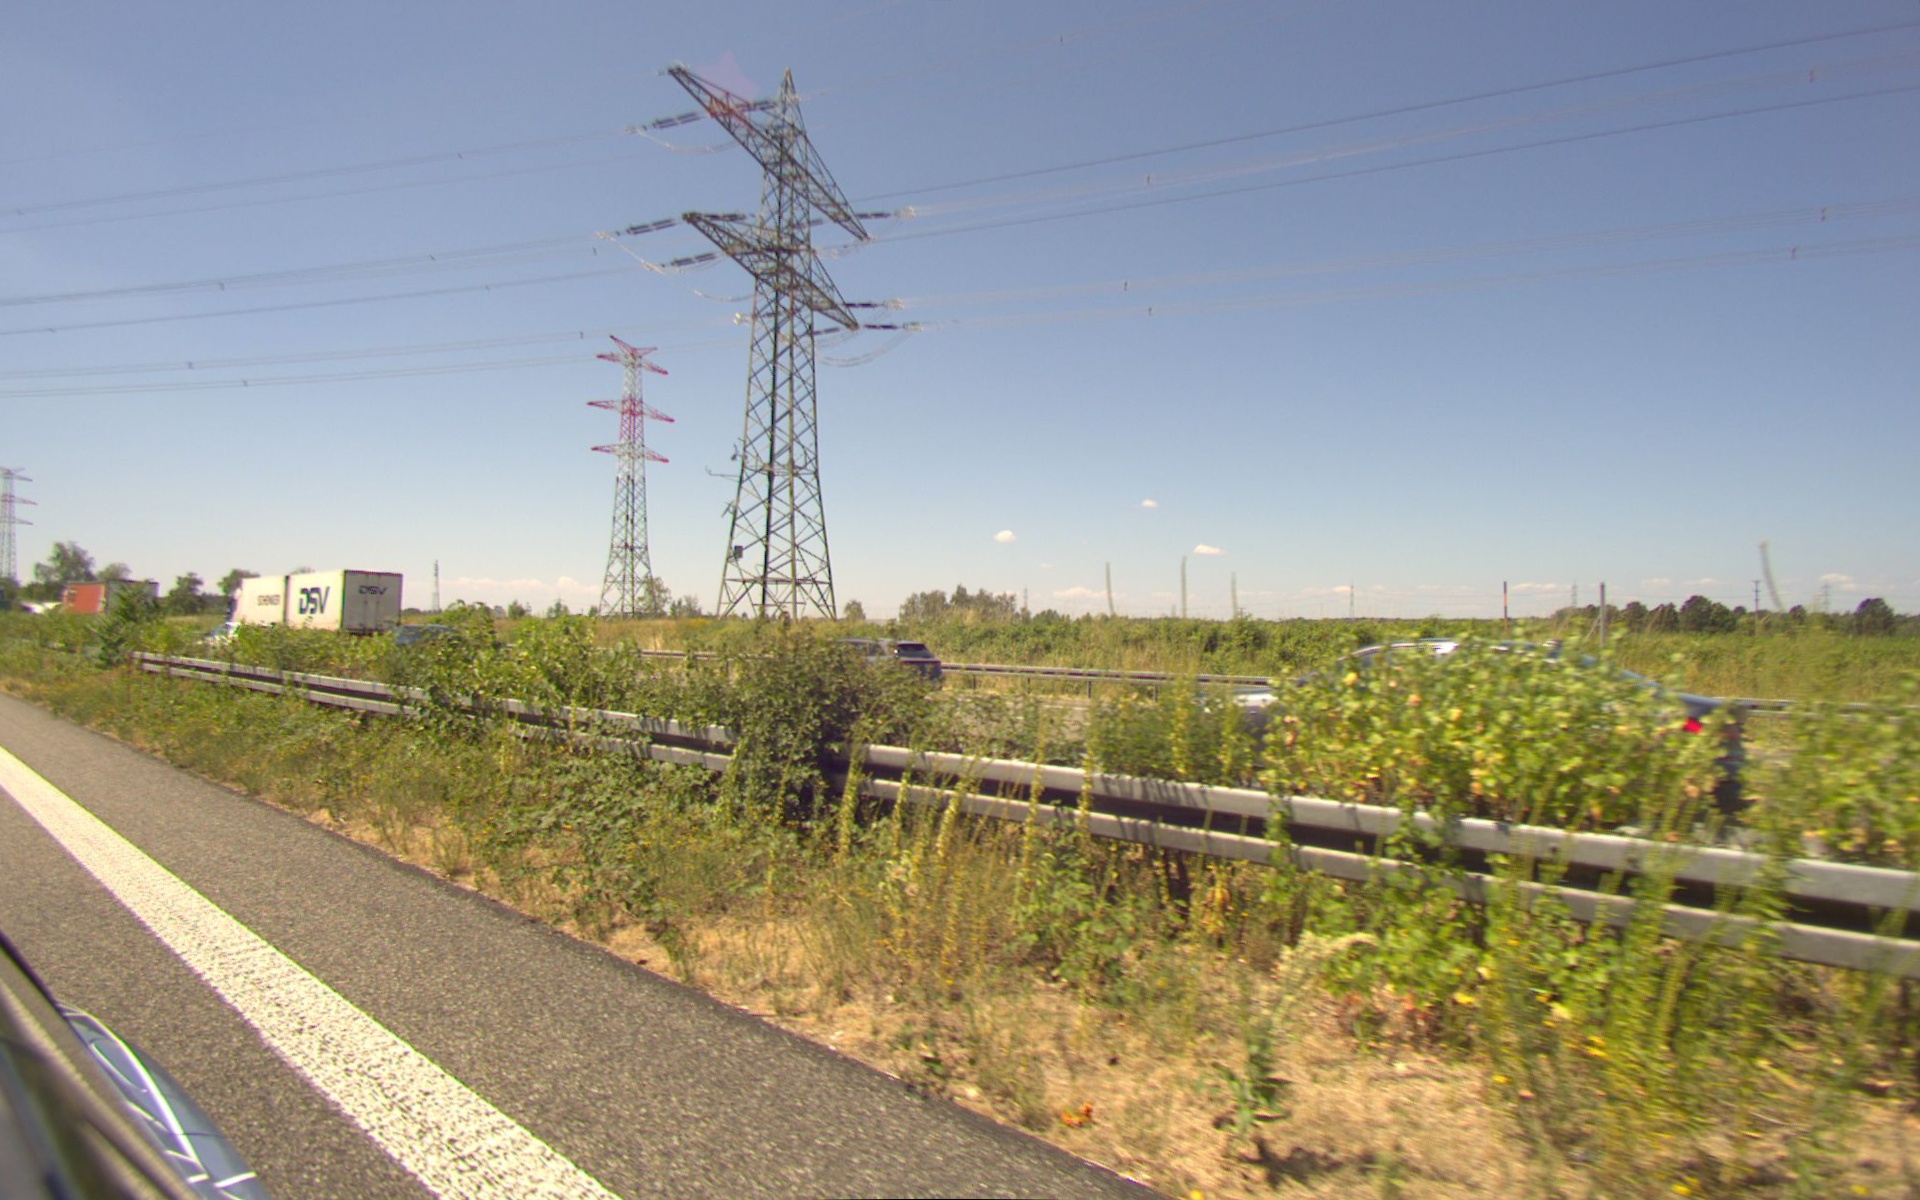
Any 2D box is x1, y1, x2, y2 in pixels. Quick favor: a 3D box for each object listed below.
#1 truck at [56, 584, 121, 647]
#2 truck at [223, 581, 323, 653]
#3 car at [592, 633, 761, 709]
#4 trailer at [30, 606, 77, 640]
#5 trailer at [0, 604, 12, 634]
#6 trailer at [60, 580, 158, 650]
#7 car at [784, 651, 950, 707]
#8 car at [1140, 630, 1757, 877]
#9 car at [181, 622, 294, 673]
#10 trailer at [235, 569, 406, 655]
[{"bbox_3d":[-61.468,1.158,71.364,5.907,4.244,2.572,-1,-3,42],"label":"truck"},{"bbox_3d":[-38.323,0.974,56.346,6.844,3.780,2.806,-1,-3,40],"label":"truck"},{"bbox_3d":[-6.419,1.532,22.714,3.998,1.516,1.743,-1,-3,41],"label":"car"},{"bbox_3d":[-96.072,2.459,107.161,11.560,3.398,2.390,-1,-3,42],"label":"trailer"},{"bbox_3d":[-137.866,2.739,144.130,13.908,4.116,2.641,-1,-3,41],"label":"trailer"},{"bbox_3d":[-56.783,1.083,67.320,14.319,4.270,2.564,-1,-3,41],"label":"trailer"},{"bbox_3d":[-2.226,1.788,23.559,3.988,1.099,1.487,-1,-3,40],"label":"car"},{"bbox_3d":[3.824,1.024,8.356,4.290,1.507,1.775,-1,-2,38],"label":"car"},{"bbox_3d":[-23.247,1.475,32.500,4.962,1.502,1.731,-1,-3,40],"label":"car"},{"bbox_3d":[-33.014,0.692,51.690,15.970,3.851,2.824,-1,-3,41],"label":"trailer"}]
